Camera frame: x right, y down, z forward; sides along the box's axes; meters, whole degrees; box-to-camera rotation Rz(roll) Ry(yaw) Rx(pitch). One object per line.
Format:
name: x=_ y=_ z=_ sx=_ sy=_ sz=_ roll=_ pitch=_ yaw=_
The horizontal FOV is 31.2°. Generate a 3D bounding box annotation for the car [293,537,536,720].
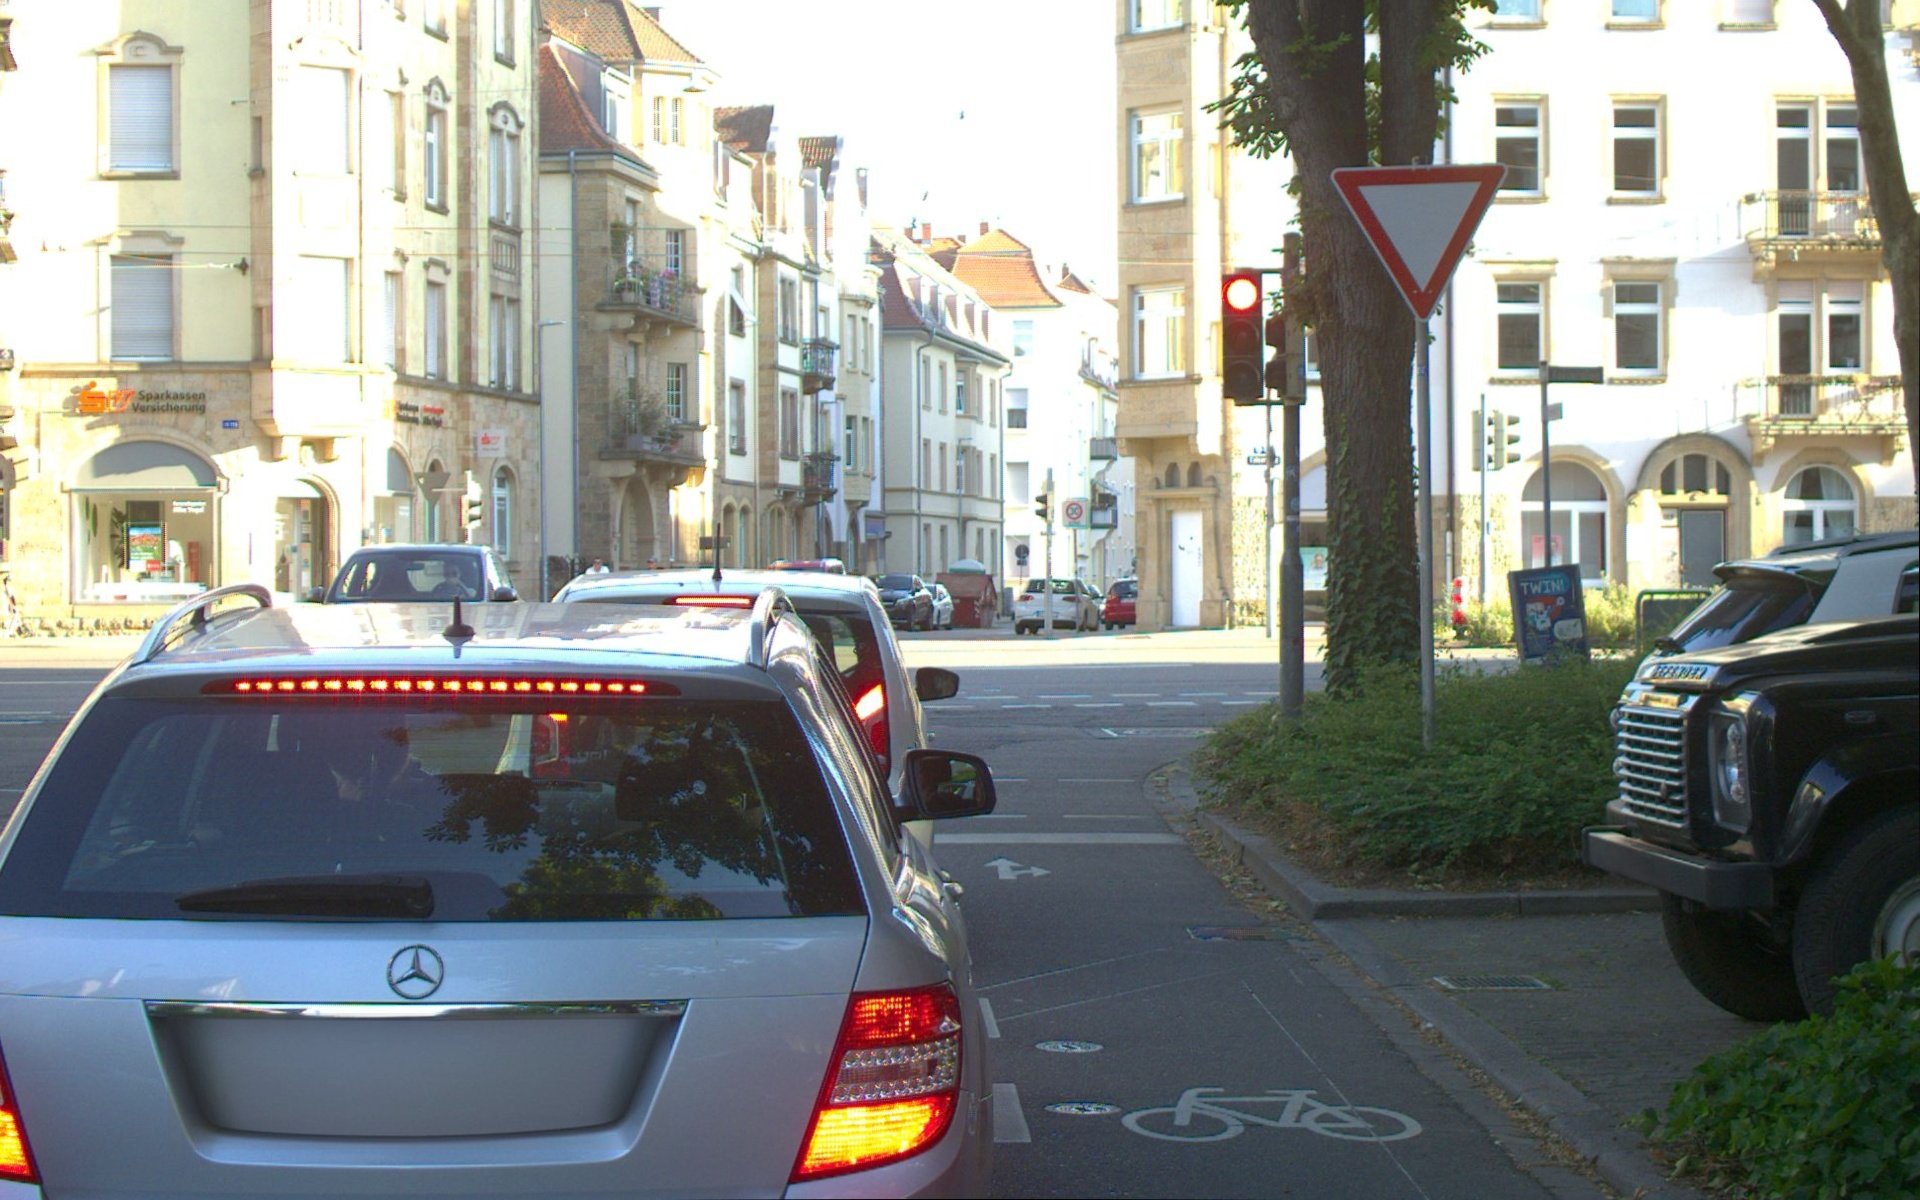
car: x=-4.832 y=0.206 z=30.856 sx=1.615 sy=1.496 sz=3.592 roll=0 pitch=2 yaw=0

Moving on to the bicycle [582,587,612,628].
bicycle: x=-7.733 y=0.155 z=73.219 sx=0.568 sy=0.832 sz=1.566 roll=0 pitch=1 yaw=-4

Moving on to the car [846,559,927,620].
car: x=-2.162 y=-0.295 z=102.429 sx=1.651 sy=1.777 sz=3.861 roll=0 pitch=0 yaw=11

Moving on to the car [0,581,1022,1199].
car: x=-0.865 y=0.709 z=6.463 sx=1.690 sy=1.424 sz=3.493 roll=1 pitch=1 yaw=-3

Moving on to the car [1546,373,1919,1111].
car: x=4.189 y=0.292 z=10.177 sx=4.490 sy=1.949 sz=1.793 roll=-2 pitch=1 yaw=-3

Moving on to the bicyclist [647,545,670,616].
bicyclist: x=-6.429 y=-0.415 z=73.336 sx=0.466 sy=1.516 sz=0.694 roll=0 pitch=1 yaw=-4

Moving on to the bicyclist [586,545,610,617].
bicyclist: x=-7.720 y=-0.409 z=73.352 sx=0.466 sy=1.509 sz=0.655 roll=0 pitch=1 yaw=-4

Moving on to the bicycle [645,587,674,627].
bicycle: x=-6.401 y=0.142 z=73.272 sx=0.568 sy=0.832 sz=1.566 roll=0 pitch=1 yaw=-4

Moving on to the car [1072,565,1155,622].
car: x=4.575 y=-0.222 z=102.070 sx=1.722 sy=1.473 sz=3.998 roll=-4 pitch=1 yaw=12

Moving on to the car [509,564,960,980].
car: x=-0.837 y=0.572 z=13.550 sx=1.533 sy=1.386 sz=3.600 roll=0 pitch=1 yaw=-2

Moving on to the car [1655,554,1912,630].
car: x=11.847 y=-0.123 z=49.574 sx=3.364 sy=1.065 sz=1.380 roll=0 pitch=1 yaw=-1

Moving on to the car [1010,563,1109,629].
car: x=2.506 y=-0.117 z=85.870 sx=1.722 sy=1.473 sz=3.998 roll=-2 pitch=1 yaw=12

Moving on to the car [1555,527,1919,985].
car: x=4.222 y=0.502 z=13.098 sx=3.480 sy=1.580 sz=1.711 roll=-2 pitch=1 yaw=-6

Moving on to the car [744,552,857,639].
car: x=-3.695 y=-0.136 z=80.346 sx=1.938 sy=1.952 sz=4.149 roll=0 pitch=1 yaw=8
